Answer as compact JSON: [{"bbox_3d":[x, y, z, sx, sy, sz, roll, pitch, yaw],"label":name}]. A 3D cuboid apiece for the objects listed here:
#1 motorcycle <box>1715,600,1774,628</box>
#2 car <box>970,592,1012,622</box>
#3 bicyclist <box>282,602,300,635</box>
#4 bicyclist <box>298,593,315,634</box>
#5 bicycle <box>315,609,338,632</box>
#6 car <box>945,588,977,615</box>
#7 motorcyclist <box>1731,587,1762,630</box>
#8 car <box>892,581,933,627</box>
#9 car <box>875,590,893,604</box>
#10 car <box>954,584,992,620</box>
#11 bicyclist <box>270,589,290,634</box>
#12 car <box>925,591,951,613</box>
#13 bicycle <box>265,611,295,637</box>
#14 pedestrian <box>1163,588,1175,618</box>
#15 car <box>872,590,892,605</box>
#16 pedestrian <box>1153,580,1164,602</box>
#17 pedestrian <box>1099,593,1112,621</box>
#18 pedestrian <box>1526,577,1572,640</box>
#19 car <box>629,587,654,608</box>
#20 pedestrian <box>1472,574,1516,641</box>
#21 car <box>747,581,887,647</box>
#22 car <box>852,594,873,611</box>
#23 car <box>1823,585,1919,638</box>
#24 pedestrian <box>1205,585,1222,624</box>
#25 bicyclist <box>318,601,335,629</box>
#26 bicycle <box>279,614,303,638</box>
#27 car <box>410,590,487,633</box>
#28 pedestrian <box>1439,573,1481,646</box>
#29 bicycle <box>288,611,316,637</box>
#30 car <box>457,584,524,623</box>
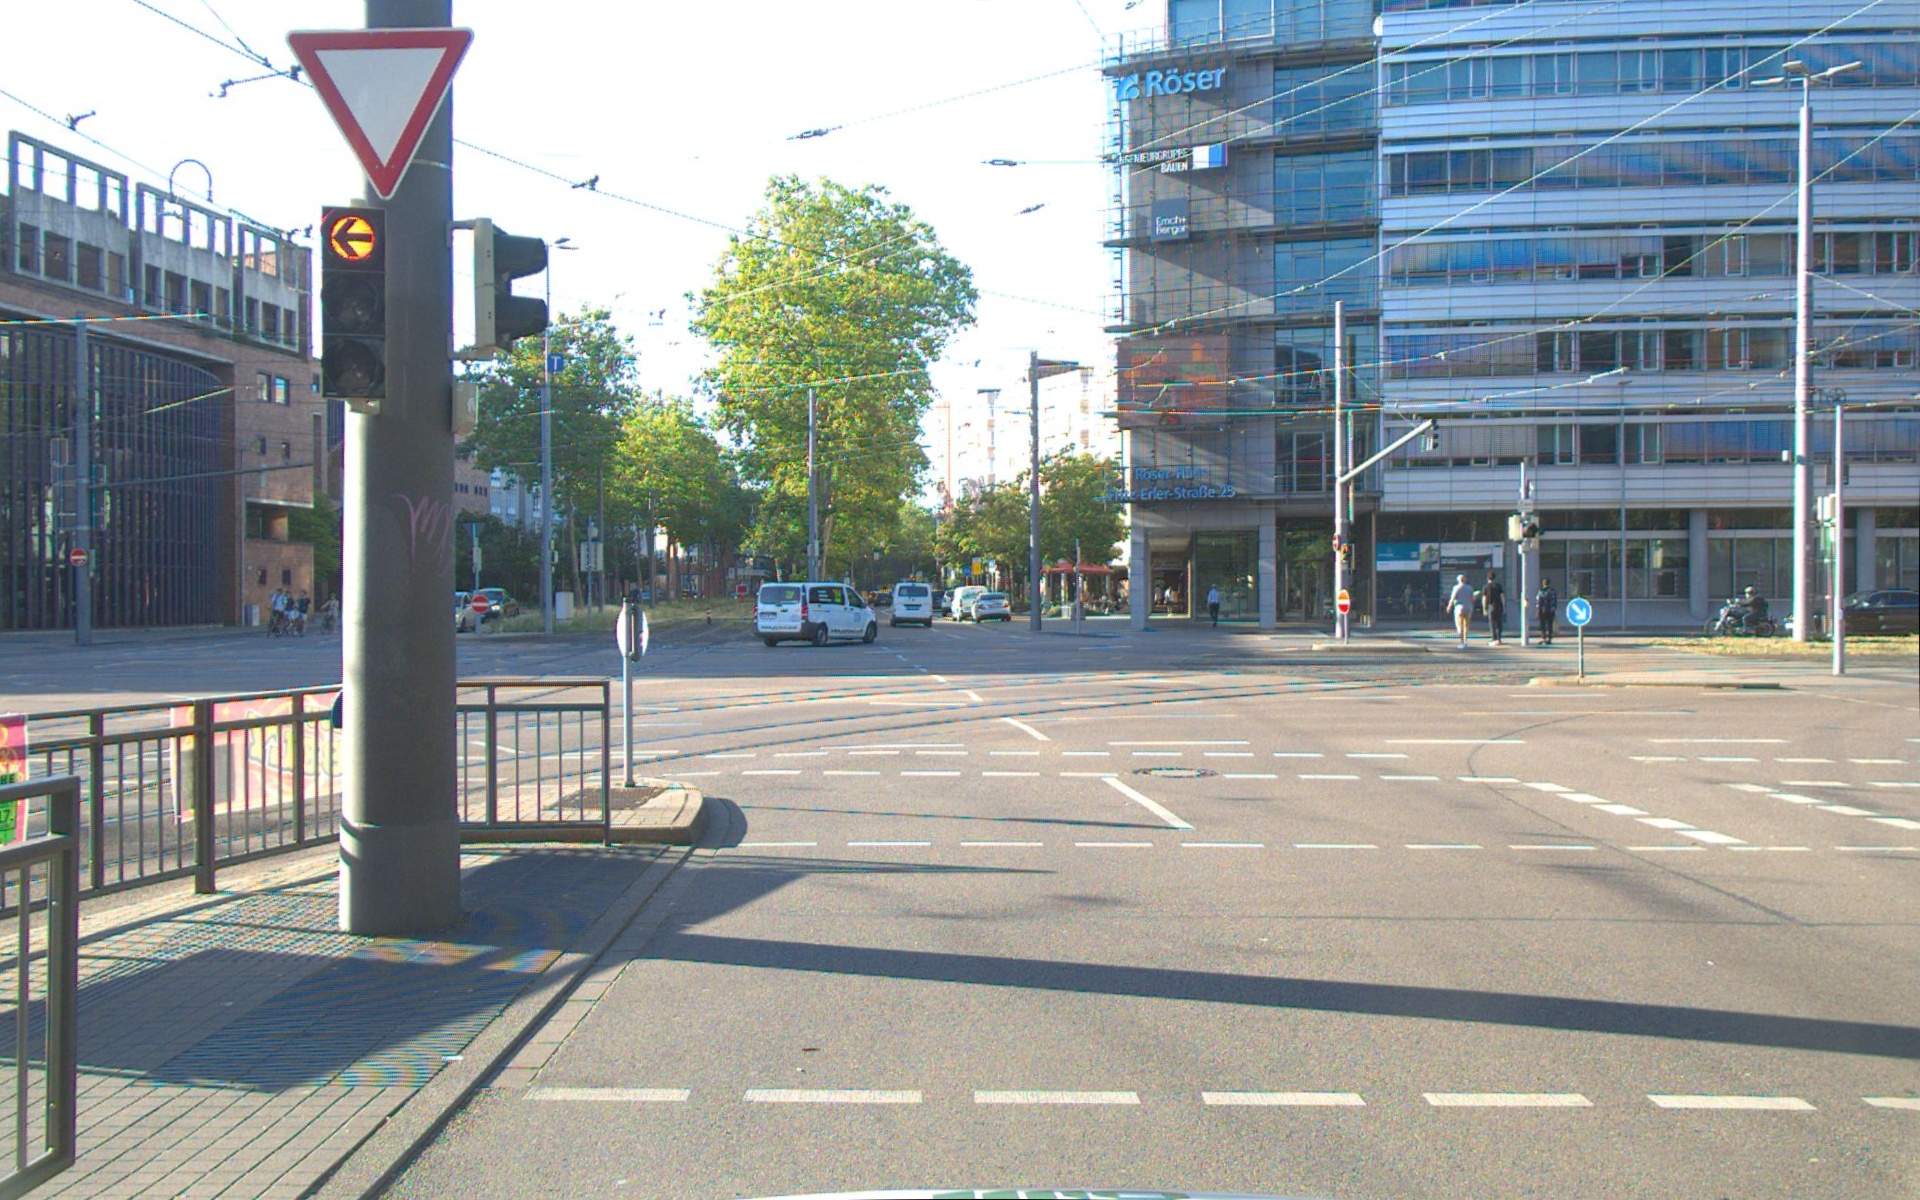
[{"bbox_3d":[23.584,0.411,49.749,1.535,0.824,0.467,-1,0,3],"label":"motorcycle"},{"bbox_3d":[1.534,0.335,82.786,1.953,1.400,3.999,-1,0,-1],"label":"car"},{"bbox_3d":[-27.599,0.754,68.239,0.495,1.327,0.581,-1,0,-1],"label":"bicyclist"},{"bbox_3d":[-25.834,0.526,65.398,0.449,1.631,0.581,-1,0,-1],"label":"bicyclist"},{"bbox_3d":[-27.121,0.876,70.816,0.442,0.980,1.347,-1,0,-1],"label":"bicycle"},{"bbox_3d":[0.033,0.068,105.208,1.953,1.646,3.999,-1,0,-1],"label":"car"},{"bbox_3d":[23.649,0.251,49.753,0.697,1.298,0.460,-1,0,3],"label":"motorcyclist"},{"bbox_3d":[-2.041,0.152,71.479,1.720,1.899,4.524,-1,0,-2],"label":"car"},{"bbox_3d":[-7.833,-0.329,171.296,1.761,1.467,3.999,-1,0,-1],"label":"car"},{"bbox_3d":[0.685,0.114,89.572,1.953,1.892,3.999,-1,0,-1],"label":"car"},{"bbox_3d":[-26.800,0.434,65.227,0.525,1.761,0.581,-1,0,-1],"label":"bicyclist"},{"bbox_3d":[-1.683,0.127,126.632,1.953,1.646,3.999,-1,0,-1],"label":"car"},{"bbox_3d":[-26.804,0.945,65.196,0.531,0.980,1.586,-1,0,-1],"label":"bicycle"},{"bbox_3d":[10.766,0.144,85.377,0.599,1.534,0.579,-1,0,7],"label":"pedestrian"},{"bbox_3d":[-7.543,-0.249,160.488,1.761,1.467,3.999,-1,0,-1],"label":"car"},{"bbox_3d":[16.024,-0.754,133.584,0.729,1.744,0.612,-1,0,-1],"label":"pedestrian"},{"bbox_3d":[9.263,0.448,105.147,0.729,1.744,0.612,-1,0,-1],"label":"pedestrian"},{"bbox_3d":[15.154,0.224,42.562,0.928,1.591,0.897,-1,0,6],"label":"pedestrian"},{"bbox_3d":[-32.906,-0.271,171.016,1.954,2.049,3.997,-1,0,-3],"label":"car"},{"bbox_3d":[13.908,0.193,43.091,0.893,1.714,1.036,-1,0,6],"label":"pedestrian"},{"bbox_3d":[-4.236,0.377,49.998,1.921,1.881,5.329,-1,0,23],"label":"car"},{"bbox_3d":[-8.684,0.205,147.064,1.762,1.467,3.998,1,0,-3],"label":"car"},{"bbox_3d":[26.850,0.296,46.645,4.070,1.423,1.786,-1,0,4],"label":"car"},{"bbox_3d":[10.011,0.183,65.259,0.599,1.534,0.579,-1,0,5],"label":"pedestrian"},{"bbox_3d":[-27.124,0.646,70.806,0.495,1.199,0.581,-1,0,-1],"label":"bicyclist"},{"bbox_3d":[-27.604,1.066,68.221,0.458,0.980,1.320,-1,0,-1],"label":"bicycle"},{"bbox_3d":[-20.669,0.446,67.033,1.953,1.668,3.999,-1,0,-2],"label":"car"},{"bbox_3d":[12.707,0.236,42.017,0.847,1.820,0.870,-1,0,28],"label":"pedestrian"},{"bbox_3d":[-25.929,0.953,65.210,0.463,0.980,1.575,-1,0,-1],"label":"bicycle"},{"bbox_3d":[-21.123,0.145,74.592,1.953,1.668,3.999,-1,0,-2],"label":"car"}]
